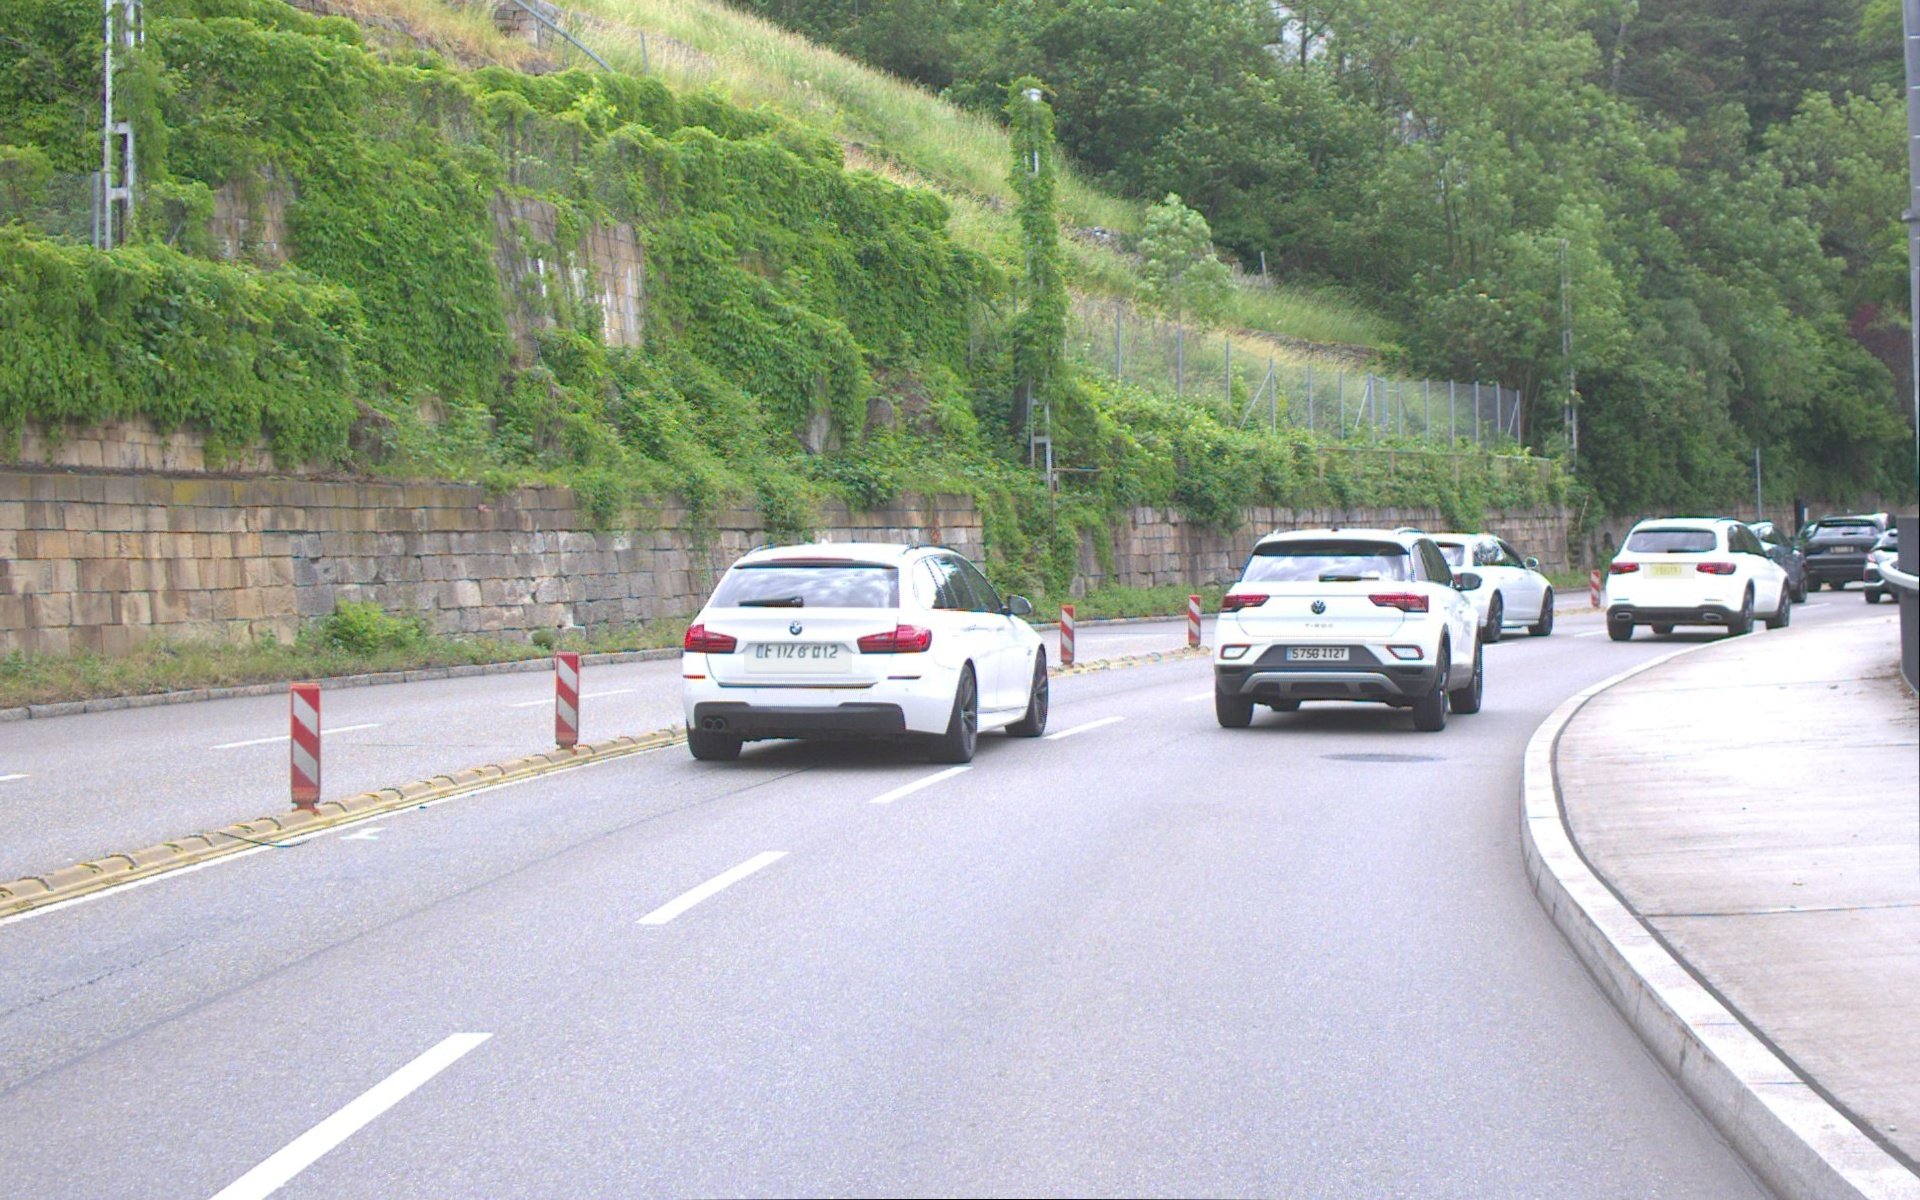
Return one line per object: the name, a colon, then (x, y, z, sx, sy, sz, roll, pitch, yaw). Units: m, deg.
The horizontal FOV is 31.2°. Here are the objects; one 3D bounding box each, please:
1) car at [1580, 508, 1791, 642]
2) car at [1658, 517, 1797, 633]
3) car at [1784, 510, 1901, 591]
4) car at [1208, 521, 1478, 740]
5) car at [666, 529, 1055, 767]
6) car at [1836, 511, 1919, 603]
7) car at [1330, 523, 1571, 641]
car: (9.921, -0.353, 46.781, 1.996, 1.712, 4.109, -1, 0, 23)
car: (14.506, -0.492, 64.826, 1.995, 2.007, 3.996, -4, 0, 19)
car: (19.072, -1.066, 74.193, 1.996, 1.711, 3.996, 0, 1, 21)
car: (3.169, 0.186, 27.847, 1.829, 1.600, 3.998, 0, 2, 11)
car: (-0.577, 0.307, 23.942, 1.828, 1.455, 4.484, 1, 0, 10)
car: (17.991, -0.820, 65.343, 1.996, 1.711, 3.995, 0, 1, 23)
car: (6.744, -0.256, 46.839, 1.996, 1.498, 4.661, -1, 0, 24)
